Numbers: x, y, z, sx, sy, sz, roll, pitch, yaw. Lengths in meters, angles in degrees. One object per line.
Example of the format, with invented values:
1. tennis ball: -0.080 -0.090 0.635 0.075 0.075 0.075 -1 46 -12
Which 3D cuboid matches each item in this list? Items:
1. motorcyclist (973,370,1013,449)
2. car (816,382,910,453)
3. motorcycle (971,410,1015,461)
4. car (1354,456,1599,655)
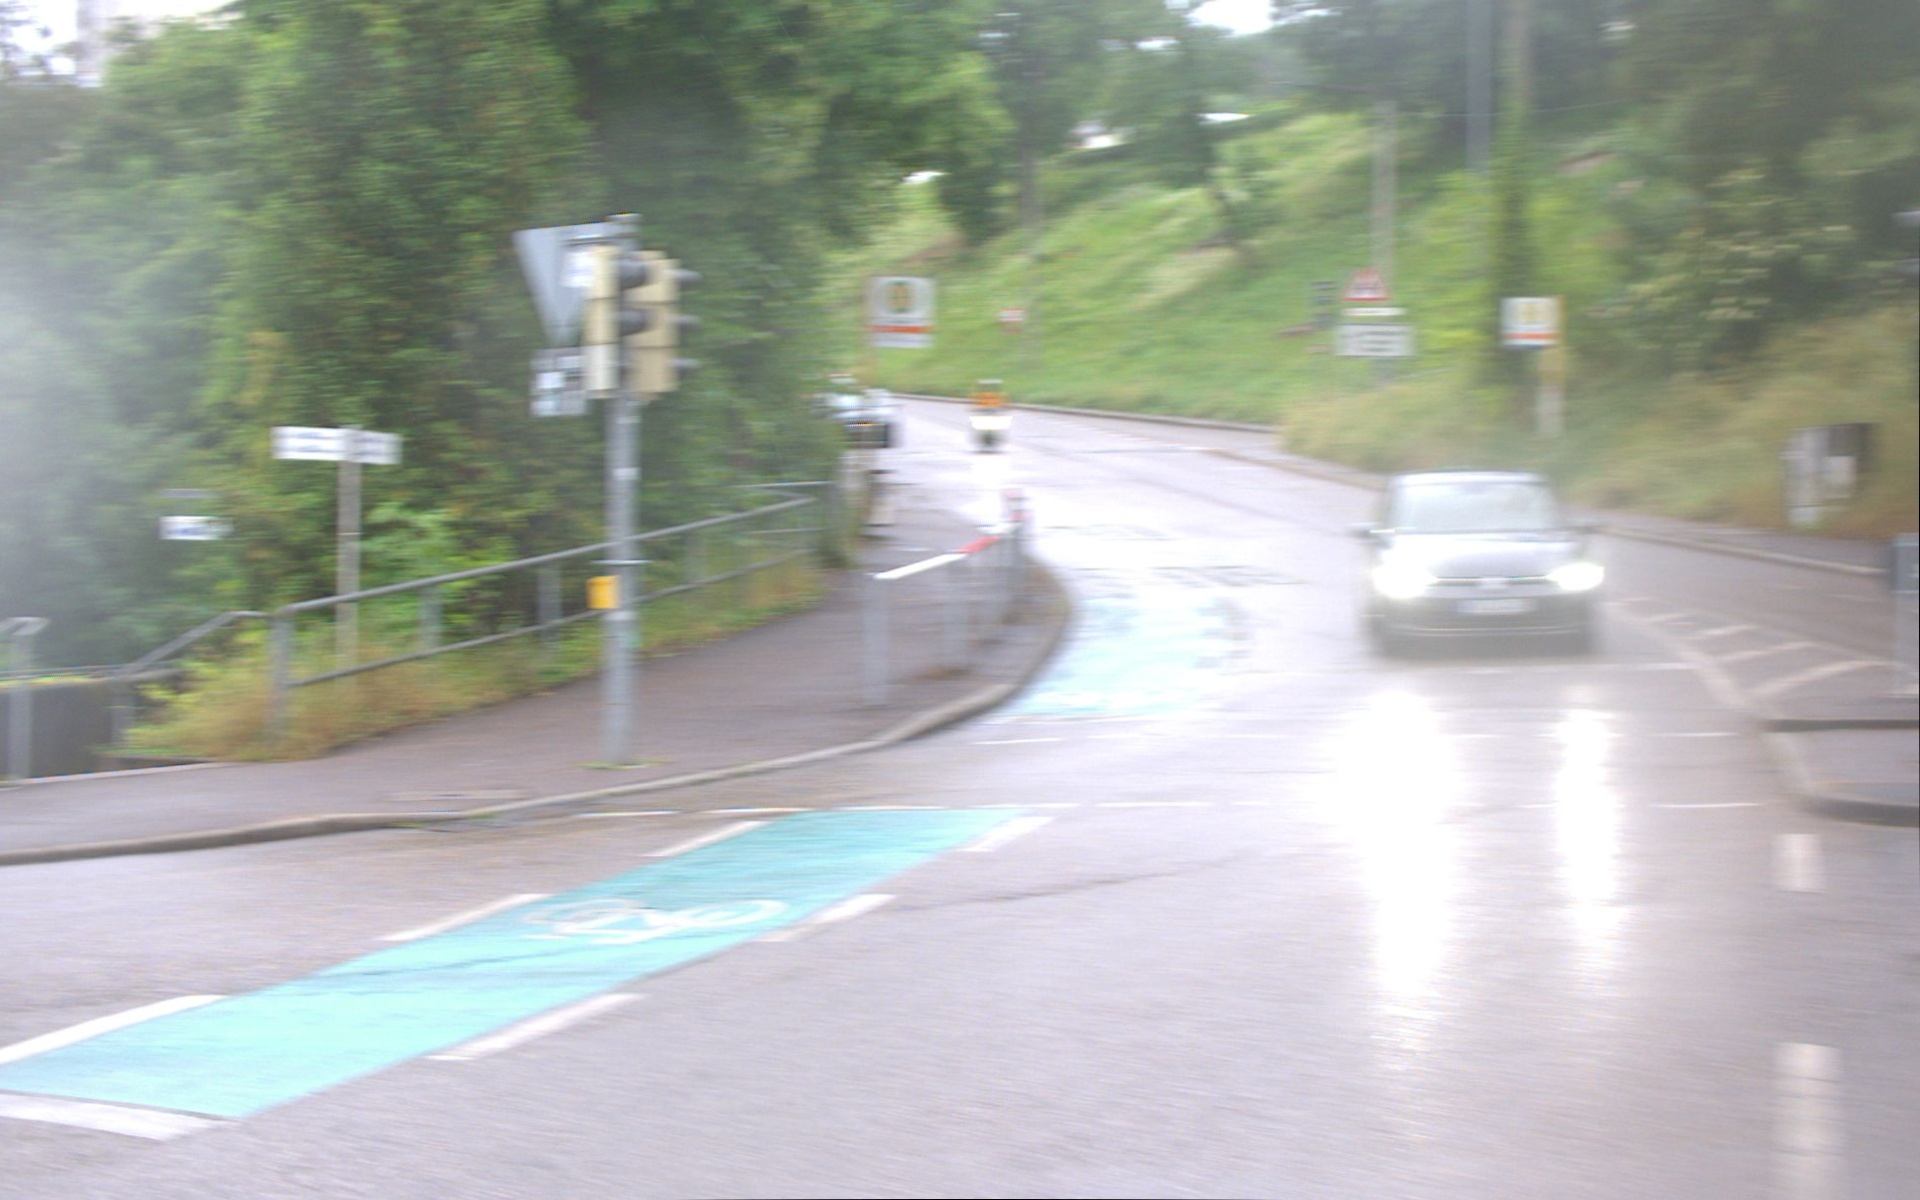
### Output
1. motorcyclist: 0.780 -4.543 81.902 0.884 1.866 1.255 0 4 -2
2. car: -2.466 -4.614 86.502 1.836 1.685 4.002 -1 5 -9
3. motorcycle: 0.781 -3.928 81.852 0.939 1.139 2.647 0 4 -2
4. car: 4.379 -0.440 29.342 1.883 1.516 4.691 -1 2 8
